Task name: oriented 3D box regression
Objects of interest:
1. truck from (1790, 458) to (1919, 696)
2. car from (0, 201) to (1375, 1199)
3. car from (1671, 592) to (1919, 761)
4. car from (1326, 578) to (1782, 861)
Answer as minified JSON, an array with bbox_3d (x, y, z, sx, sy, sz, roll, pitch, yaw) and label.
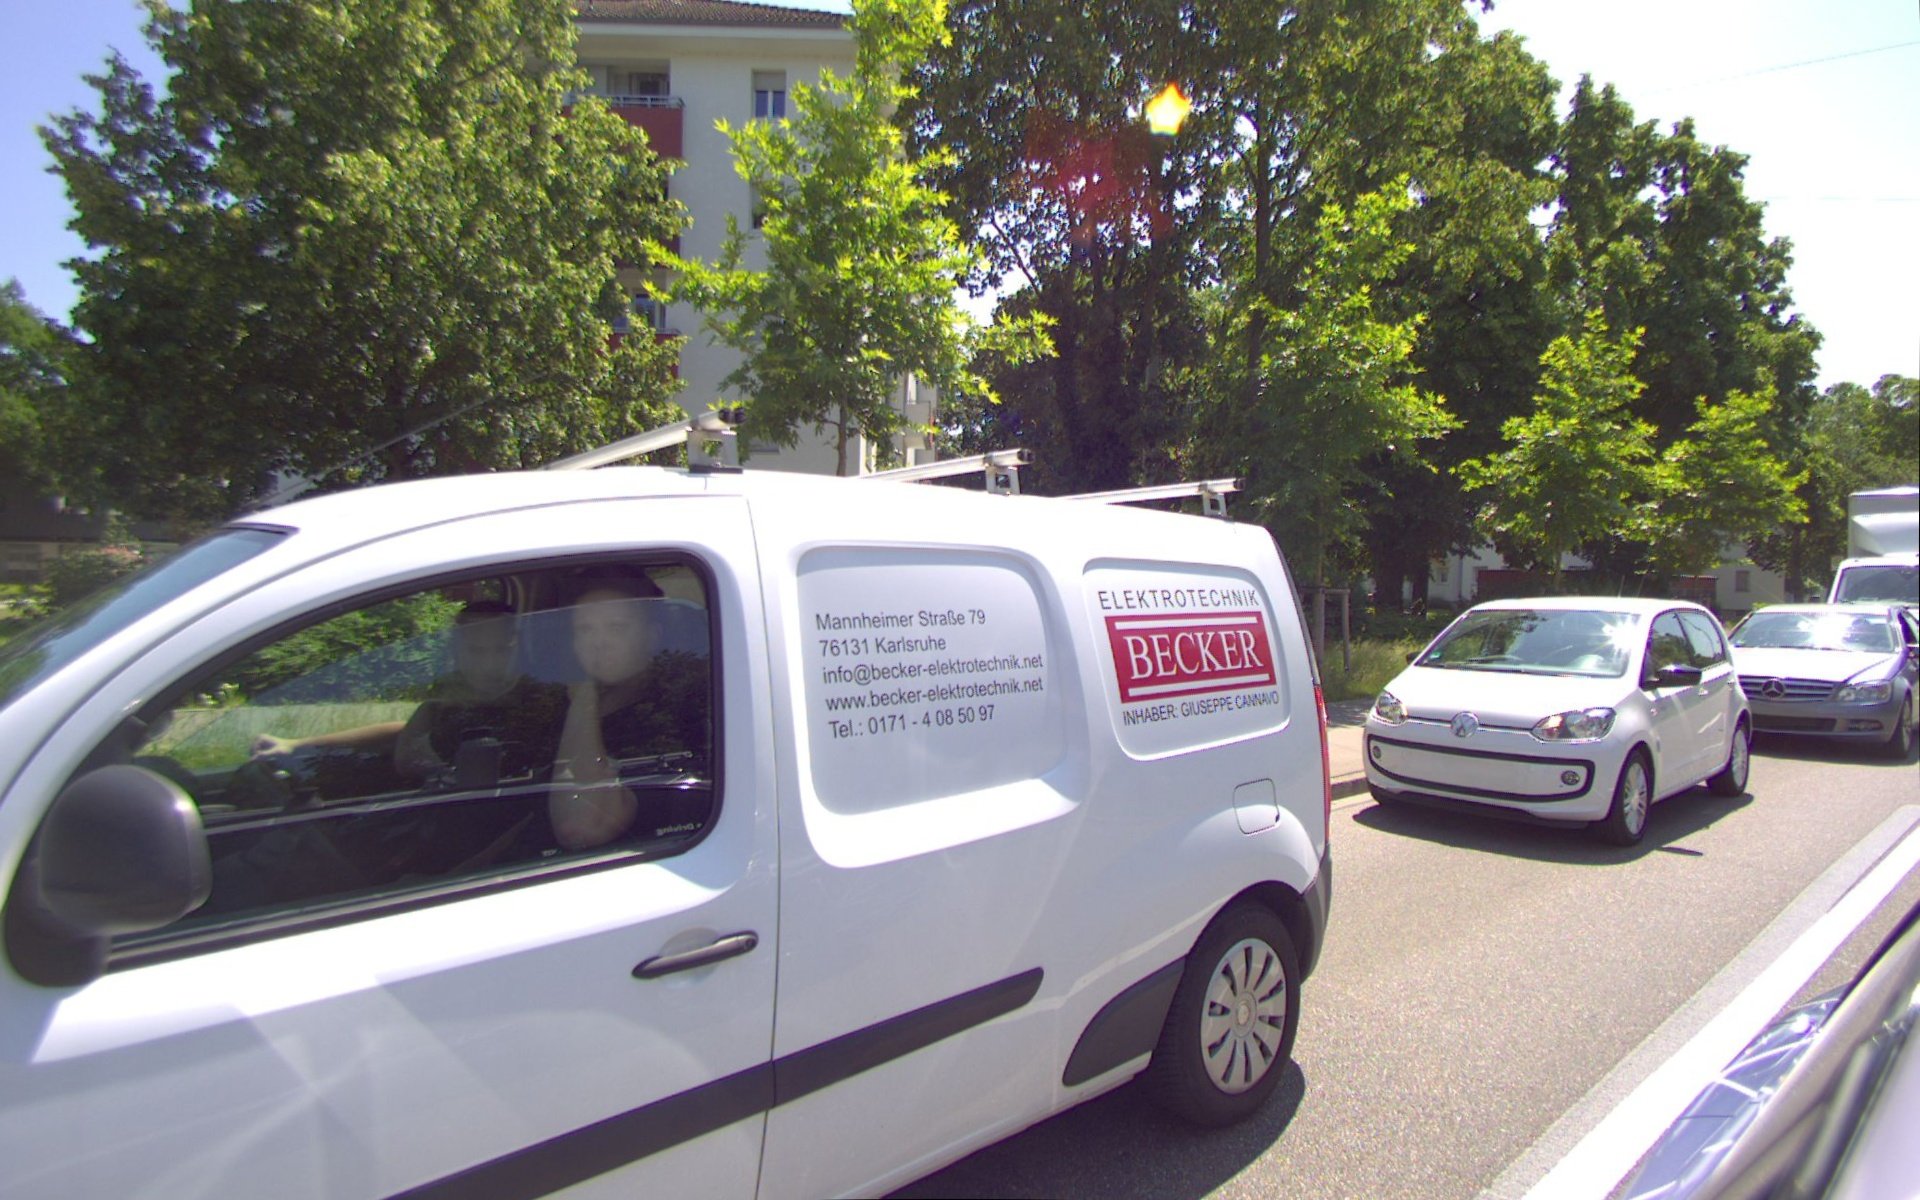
[{"bbox_3d":[16.514,-0.339,16.972,7.778,3.387,2.434,0,1,-39],"label":"truck"},{"bbox_3d":[-0.995,0.452,2.532,4.370,1.849,1.997,0,1,-41],"label":"car"},{"bbox_3d":[9.232,0.652,10.737,4.016,1.426,1.839,0,1,-41],"label":"car"},{"bbox_3d":[4.398,0.620,7.286,3.705,1.497,1.729,0,1,-41],"label":"car"}]
